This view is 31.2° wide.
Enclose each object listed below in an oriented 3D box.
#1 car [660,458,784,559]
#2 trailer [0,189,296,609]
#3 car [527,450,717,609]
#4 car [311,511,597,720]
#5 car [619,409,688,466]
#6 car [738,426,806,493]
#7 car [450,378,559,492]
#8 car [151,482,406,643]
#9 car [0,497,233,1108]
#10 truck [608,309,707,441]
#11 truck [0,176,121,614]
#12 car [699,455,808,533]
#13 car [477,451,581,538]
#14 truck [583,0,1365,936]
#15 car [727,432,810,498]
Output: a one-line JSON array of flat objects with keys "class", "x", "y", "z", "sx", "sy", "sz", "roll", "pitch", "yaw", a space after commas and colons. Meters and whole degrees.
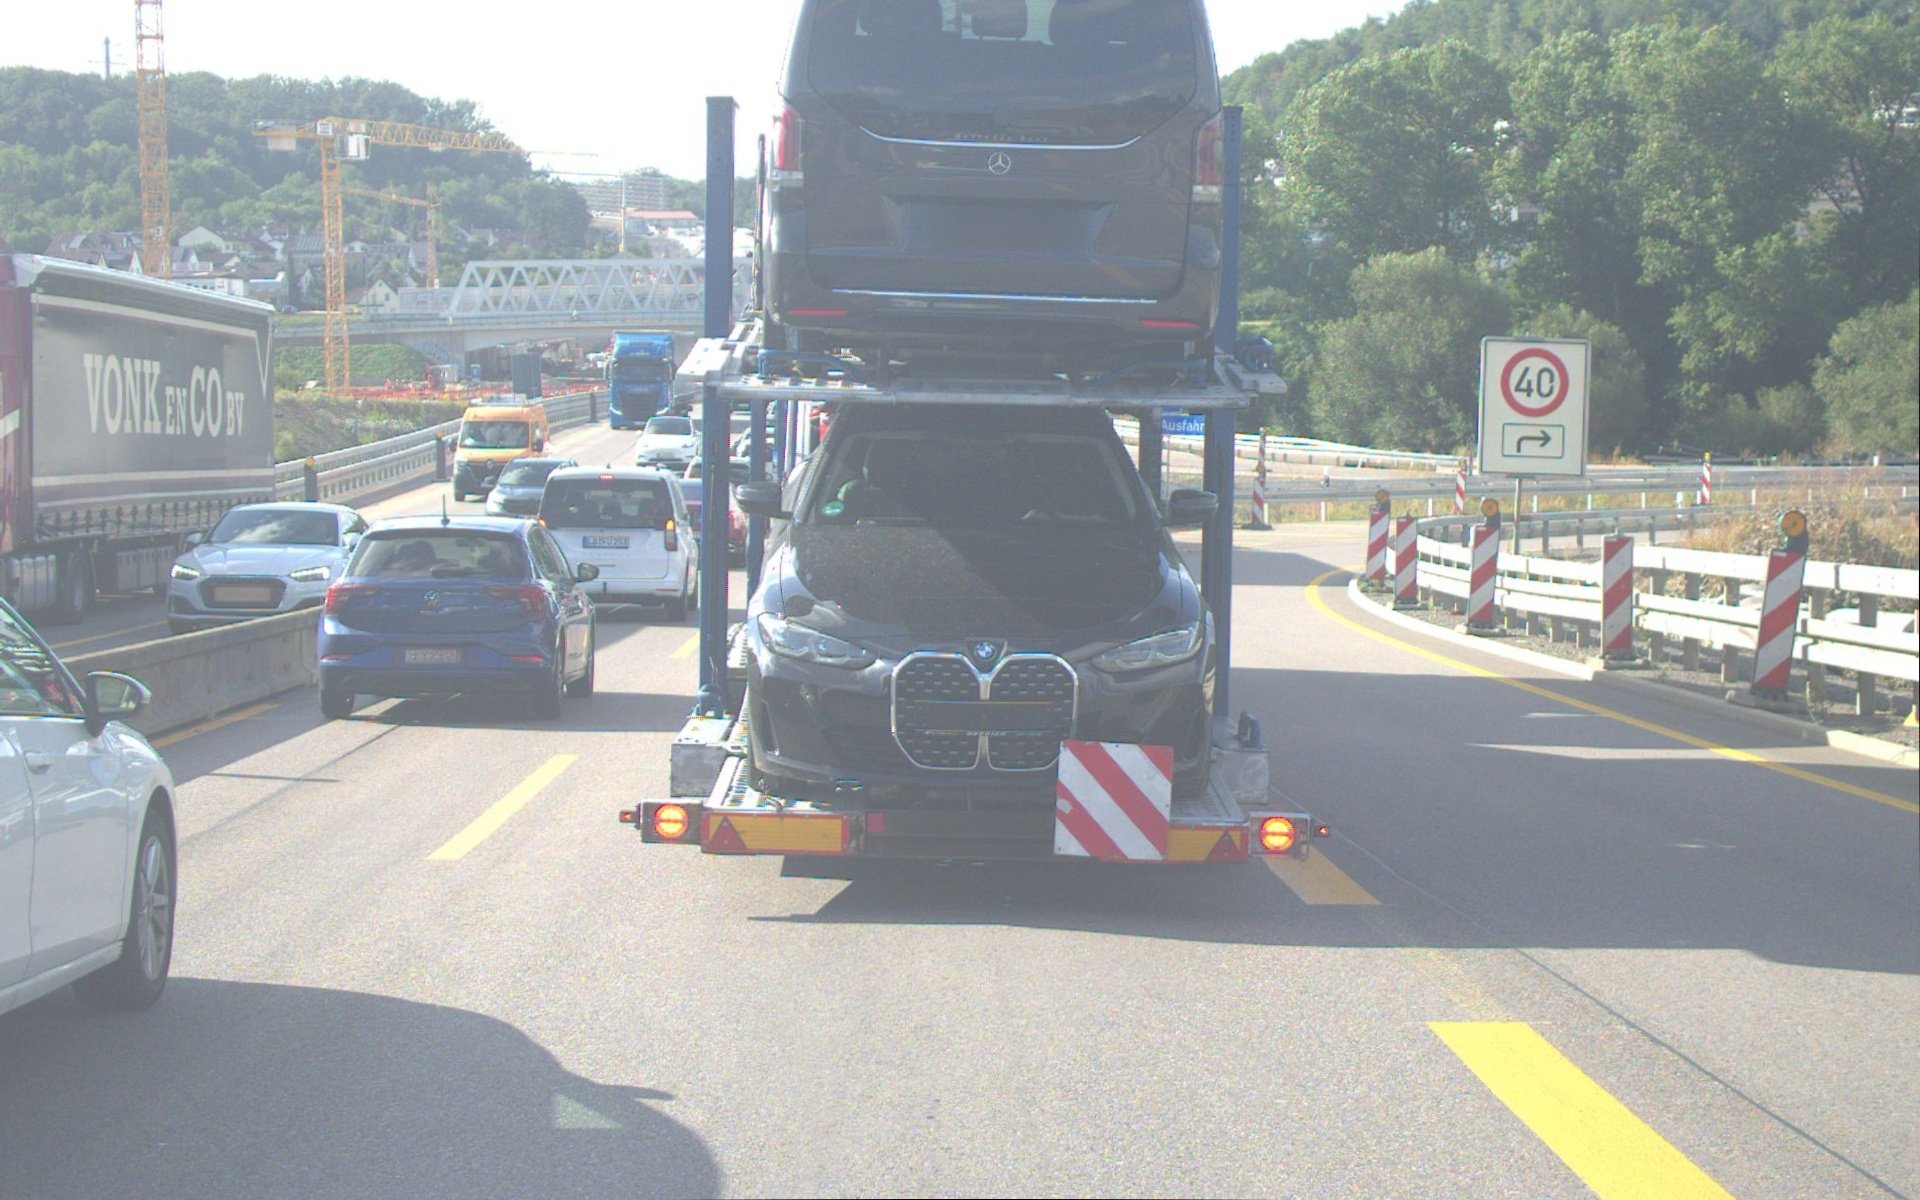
[{"class": "car", "x": -4.027, "y": -1.528, "z": 58.506, "sx": 1.993, "sy": 1.551, "sz": 4.401, "roll": 1, "pitch": 0, "yaw": -3}, {"class": "trailer", "x": -11.164, "y": -2.260, "z": 43.088, "sx": 2.976, "sy": 4.407, "sz": 13.817, "roll": 2, "pitch": 1, "yaw": 0}, {"class": "car", "x": -4.023, "y": -0.805, "z": 41.478, "sx": 1.823, "sy": 1.786, "sz": 4.000, "roll": 1, "pitch": 0, "yaw": 1}, {"class": "car", "x": -3.685, "y": 0.060, "z": 25.609, "sx": 1.722, "sy": 1.417, "sz": 4.001, "roll": 0, "pitch": 2, "yaw": -3}, {"class": "car", "x": -9.802, "y": -5.184, "z": 110.132, "sx": 1.993, "sy": 1.678, "sz": 4.001, "roll": 1, "pitch": 1, "yaw": -2}, {"class": "car", "x": -6.167, "y": -4.602, "z": 113.310, "sx": 1.993, "sy": 2.007, "sz": 4.000, "roll": 1, "pitch": 0, "yaw": 0}, {"class": "car", "x": -11.912, "y": -4.288, "z": 90.199, "sx": 1.993, "sy": 2.869, "sz": 6.065, "roll": 1, "pitch": 2, "yaw": 0}, {"class": "car", "x": -7.401, "y": -0.433, "z": 37.752, "sx": 1.844, "sy": 1.642, "sz": 4.505, "roll": 1, "pitch": 1, "yaw": 0}, {"class": "car", "x": -3.214, "y": 0.474, "z": 8.780, "sx": 1.770, "sy": 1.486, "sz": 4.517, "roll": 1, "pitch": 1, "yaw": 0}, {"class": "truck", "x": -12.966, "y": -9.600, "z": 148.400, "sx": 2.822, "sy": 4.772, "sz": 13.054, "roll": 1, "pitch": 0, "yaw": 1}, {"class": "truck", "x": -11.131, "y": -2.120, "z": 36.528, "sx": 2.914, "sy": 4.372, "sz": 6.287, "roll": 2, "pitch": 1, "yaw": -1}, {"class": "car", "x": -4.306, "y": -2.195, "z": 72.253, "sx": 1.993, "sy": 1.546, "sz": 4.000, "roll": 1, "pitch": 1, "yaw": 0}, {"class": "car", "x": -8.507, "y": -2.063, "z": 68.106, "sx": 1.844, "sy": 1.642, "sz": 4.237, "roll": 1, "pitch": 1, "yaw": -5}, {"class": "truck", "x": -0.144, "y": -1.093, "z": 22.069, "sx": 2.753, "sy": 3.941, "sz": 18.892, "roll": 2, "pitch": 2, "yaw": -1}, {"class": "car", "x": -5.022, "y": -3.551, "z": 90.638, "sx": 1.993, "sy": 1.660, "sz": 4.001, "roll": 1, "pitch": 2, "yaw": -1}]
